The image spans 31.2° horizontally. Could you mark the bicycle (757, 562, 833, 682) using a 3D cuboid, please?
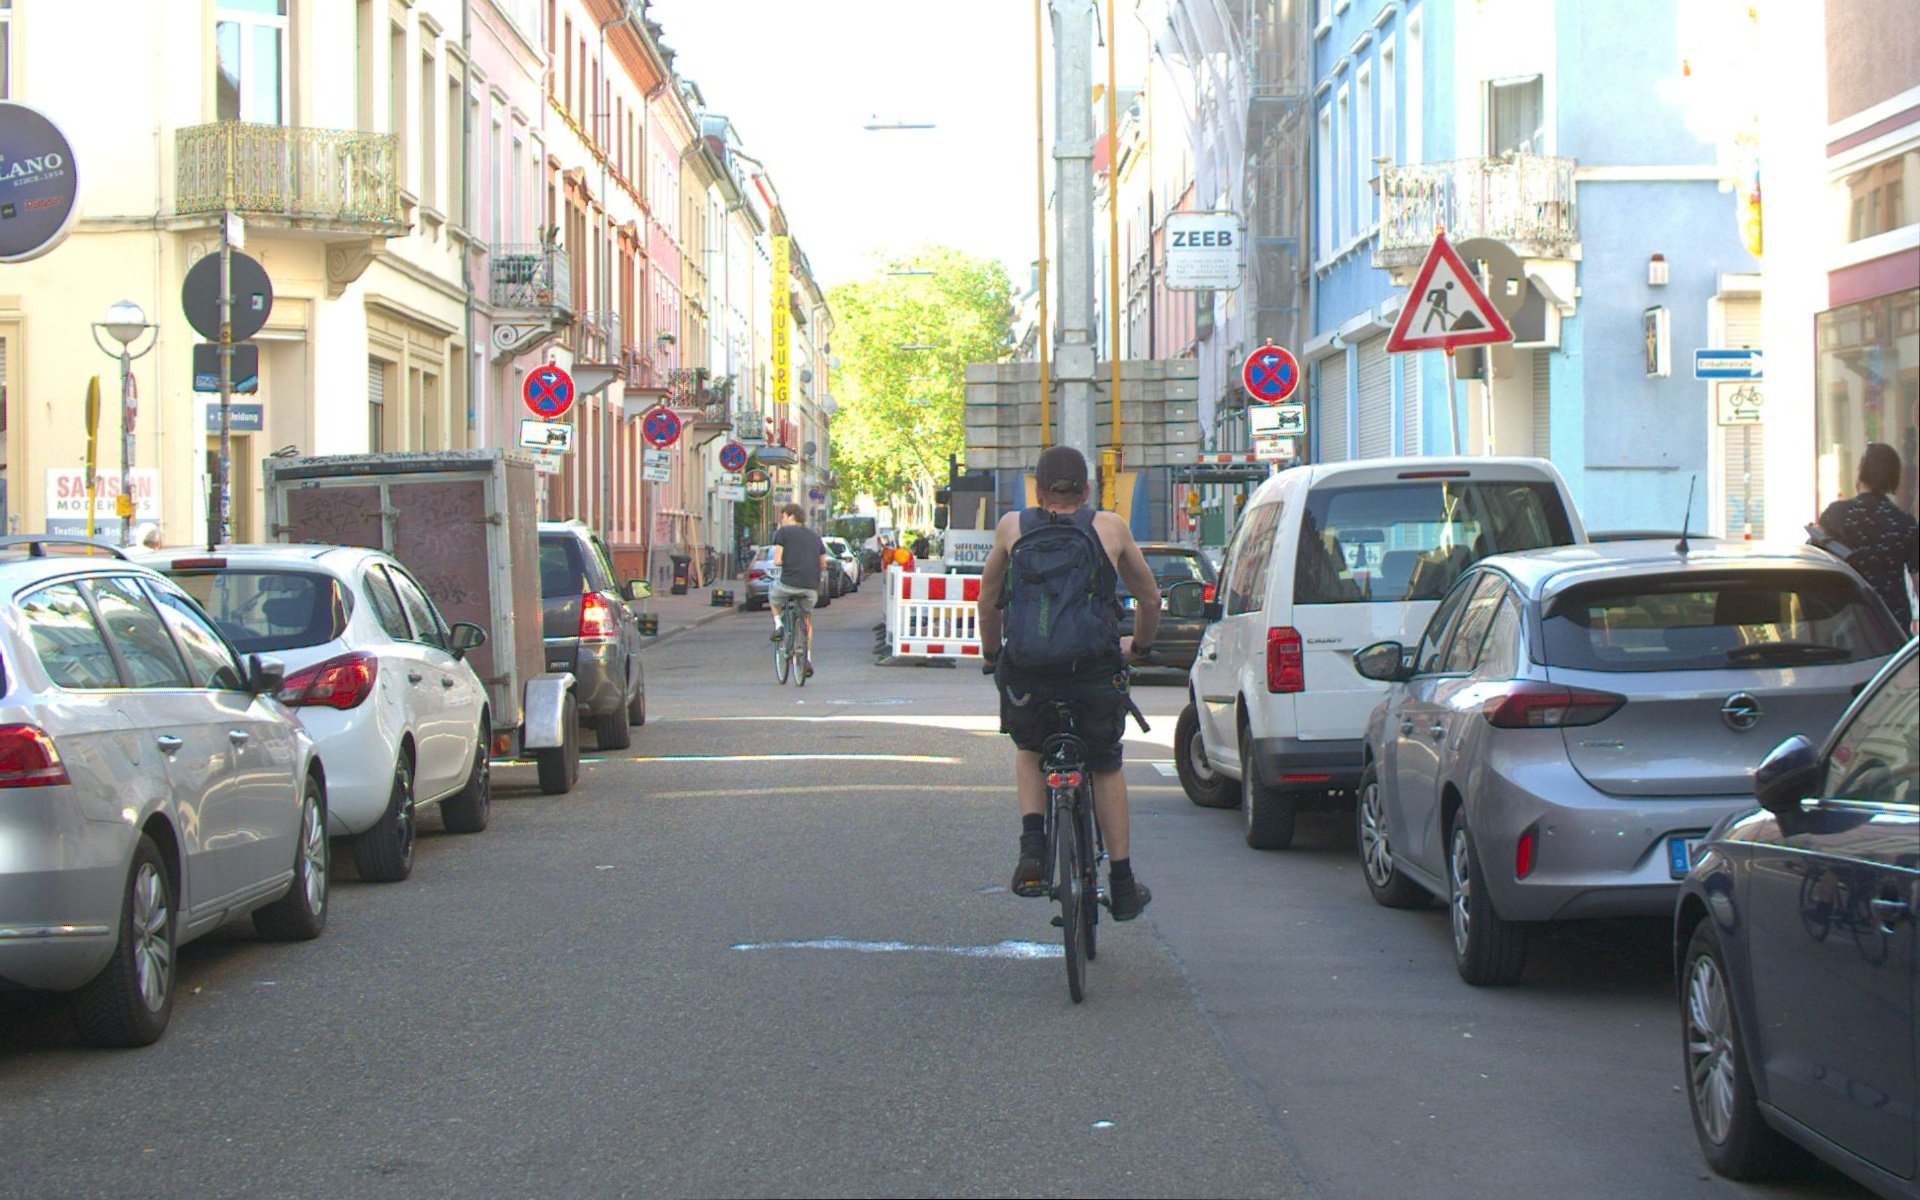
[{"bbox_3d":[-1.609,0.197,33.734,0.648,1.125,2.136,1,1,-1],"label":"bicycle"}]

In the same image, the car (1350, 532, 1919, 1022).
[{"bbox_3d":[2.491,0.522,12.456,1.750,1.481,3.800,-1,1,1],"label":"car"}]

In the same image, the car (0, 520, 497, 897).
[{"bbox_3d":[-3.233,0.432,16.089,1.653,1.532,3.634,-1,1,-1],"label":"car"}]

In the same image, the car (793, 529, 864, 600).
[{"bbox_3d":[-3.458,-0.941,91.152,1.750,1.815,3.796,-1,1,-1],"label":"car"}]

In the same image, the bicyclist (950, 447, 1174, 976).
[{"bbox_3d":[0.322,0.350,11.472,0.667,1.671,1.097,1,0,-1],"label":"bicyclist"}]

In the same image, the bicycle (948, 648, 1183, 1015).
[{"bbox_3d":[0.321,0.724,11.527,0.677,1.071,1.942,1,1,-1],"label":"bicycle"}]

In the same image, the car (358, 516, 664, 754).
[{"bbox_3d":[-3.182,0.217,25.035,1.750,1.567,3.796,-1,1,-1],"label":"car"}]

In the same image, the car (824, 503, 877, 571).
[{"bbox_3d":[-3.829,-2.205,120.340,1.750,2.310,3.796,-1,1,-1],"label":"car"}]

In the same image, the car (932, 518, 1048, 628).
[{"bbox_3d":[0.417,-0.406,51.108,1.611,1.555,3.610,1,1,-1],"label":"car"}]

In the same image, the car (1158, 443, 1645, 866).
[{"bbox_3d":[2.113,0.225,17.516,1.750,1.872,3.973,-1,1,-3],"label":"car"}]

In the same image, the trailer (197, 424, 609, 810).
[{"bbox_3d":[-3.245,0.074,20.718,1.882,2.085,3.737,-1,1,-1],"label":"trailer"}]

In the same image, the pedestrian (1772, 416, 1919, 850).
[{"bbox_3d":[4.299,0.152,16.356,0.644,2.007,0.764,1,0,-1],"label":"pedestrian"}]

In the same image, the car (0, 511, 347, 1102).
[{"bbox_3d":[-3.224,0.529,11.071,1.750,1.532,4.319,-1,1,-1],"label":"car"}]

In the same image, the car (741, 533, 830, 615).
[{"bbox_3d":[-3.736,-0.562,74.075,1.750,1.678,3.796,-1,1,-1],"label":"car"}]

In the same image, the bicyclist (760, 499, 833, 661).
[{"bbox_3d":[-1.606,-0.196,33.789,0.671,1.562,0.716,1,0,-1],"label":"bicyclist"}]

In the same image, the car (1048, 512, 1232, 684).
[{"bbox_3d":[1.780,-0.039,34.909,1.611,1.628,3.610,1,1,-1],"label":"car"}]

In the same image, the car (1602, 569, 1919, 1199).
[{"bbox_3d":[2.496,0.675,6.602,1.646,1.470,3.971,-4,1,-1],"label":"car"}]
